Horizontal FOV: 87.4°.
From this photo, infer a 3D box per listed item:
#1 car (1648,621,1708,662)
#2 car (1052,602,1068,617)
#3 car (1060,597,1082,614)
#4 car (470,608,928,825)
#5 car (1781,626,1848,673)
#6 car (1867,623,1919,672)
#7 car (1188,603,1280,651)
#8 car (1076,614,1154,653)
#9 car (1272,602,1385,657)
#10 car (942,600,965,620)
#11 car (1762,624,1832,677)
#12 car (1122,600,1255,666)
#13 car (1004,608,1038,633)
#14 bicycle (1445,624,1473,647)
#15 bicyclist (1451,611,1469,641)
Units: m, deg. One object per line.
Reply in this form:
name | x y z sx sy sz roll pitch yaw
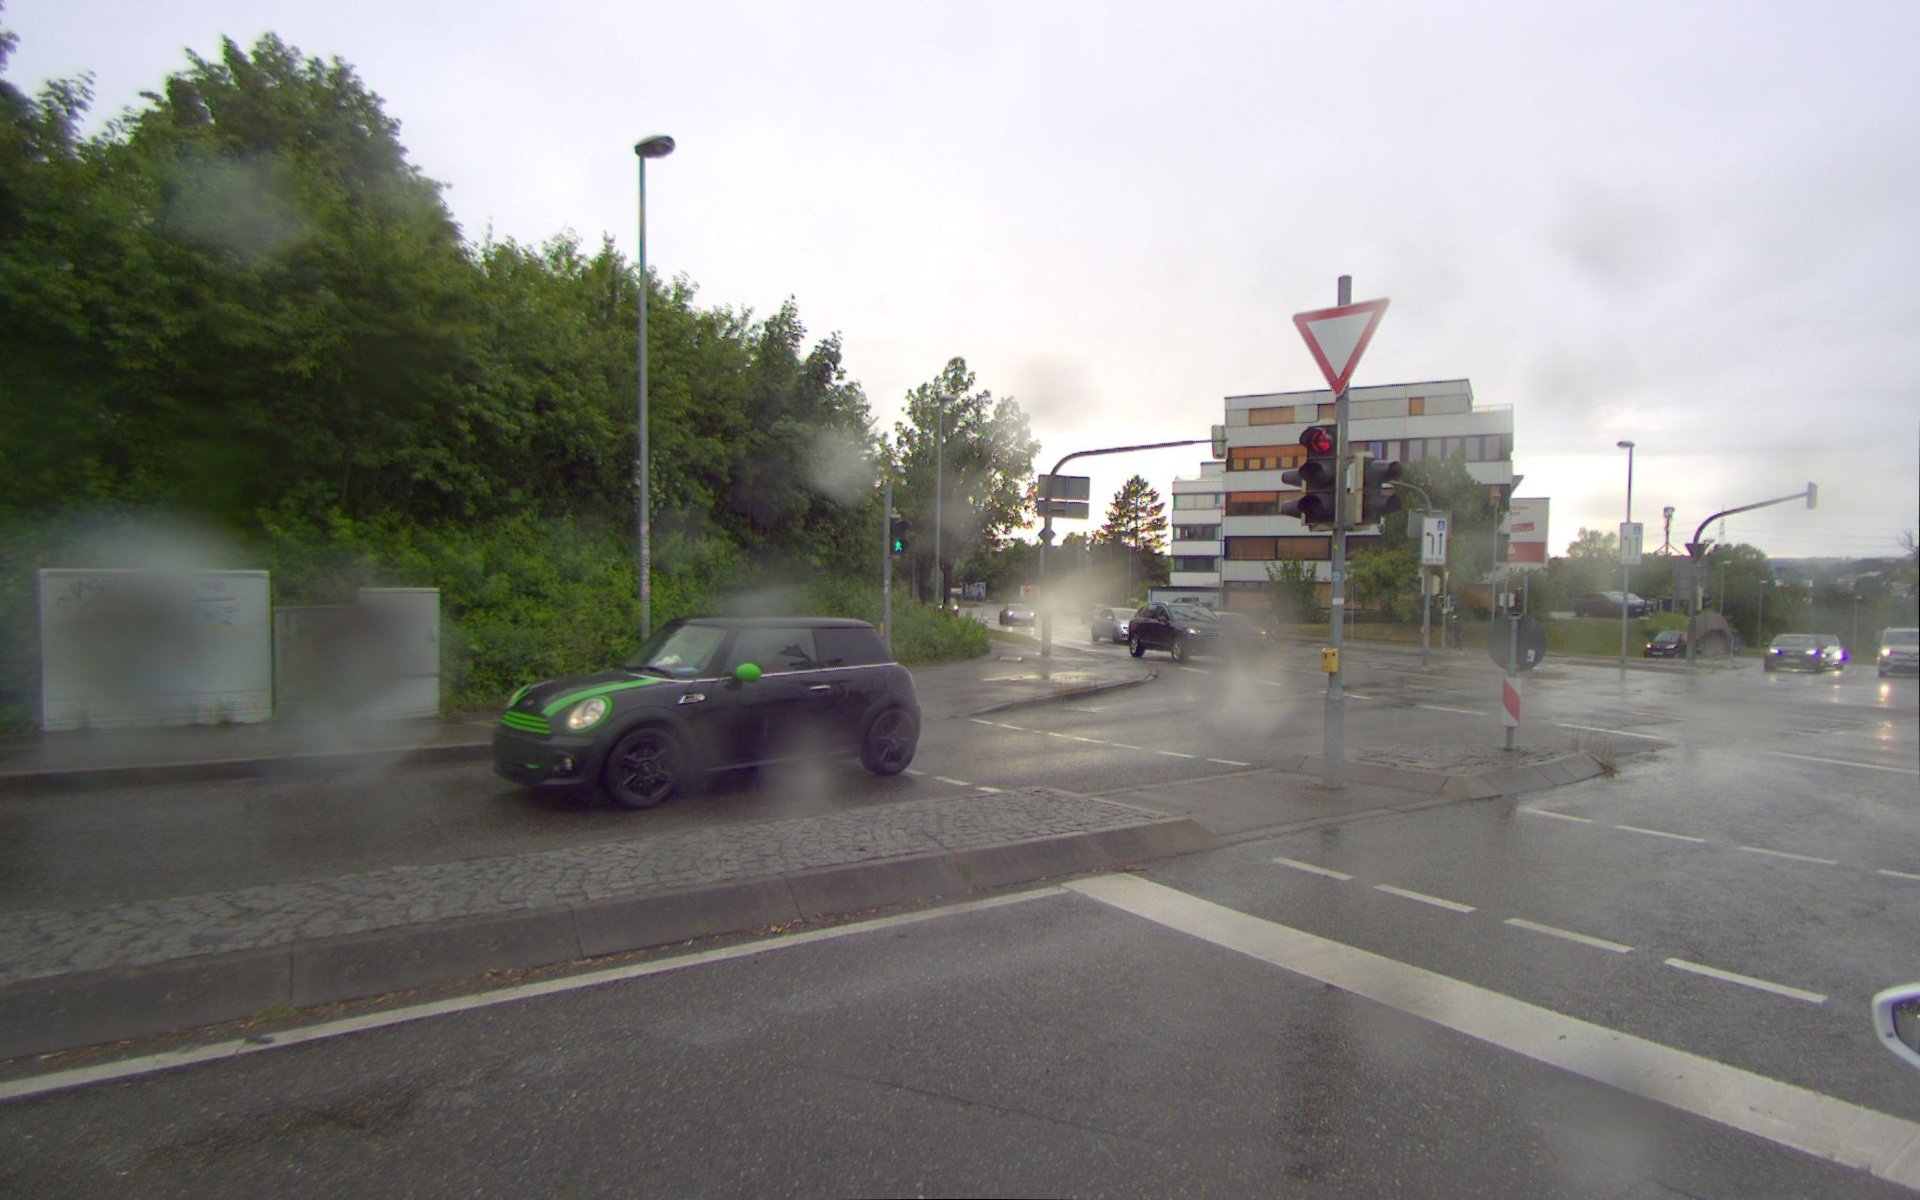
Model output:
car | 36.868 2.076 51.541 1.972 1.920 3.977 2 1 43
car | 13.178 1.246 132.491 1.960 1.873 4.001 1 1 4
car | 11.532 0.528 104.135 1.918 1.617 4.000 1 1 2
car | -2.067 0.804 8.570 1.657 1.405 3.442 2 1 42
car | 38.873 2.187 45.659 3.974 1.920 1.973 1 1 -45
car | 34.908 1.707 37.017 3.974 1.639 1.973 1 1 -45
car | 10.742 1.025 39.722 1.964 1.706 3.992 1 1 -10
car | 6.408 1.358 42.020 1.893 1.436 4.143 1 1 -11
car | 13.648 1.060 37.500 1.966 1.865 4.143 1 1 -14
car | -0.564 0.812 81.567 1.809 1.534 3.999 1 0 -1
car | 33.700 1.966 40.400 1.971 1.920 3.978 2 1 42
car | 6.739 0.930 30.195 1.967 1.725 4.597 1 1 -15
car | 3.841 1.286 63.604 1.820 1.377 4.445 1 1 -1
bicycle | 24.579 1.751 49.496 0.597 1.066 1.781 1 1 5
bicyclist | 24.579 1.284 49.349 0.591 1.465 0.545 1 1 4
